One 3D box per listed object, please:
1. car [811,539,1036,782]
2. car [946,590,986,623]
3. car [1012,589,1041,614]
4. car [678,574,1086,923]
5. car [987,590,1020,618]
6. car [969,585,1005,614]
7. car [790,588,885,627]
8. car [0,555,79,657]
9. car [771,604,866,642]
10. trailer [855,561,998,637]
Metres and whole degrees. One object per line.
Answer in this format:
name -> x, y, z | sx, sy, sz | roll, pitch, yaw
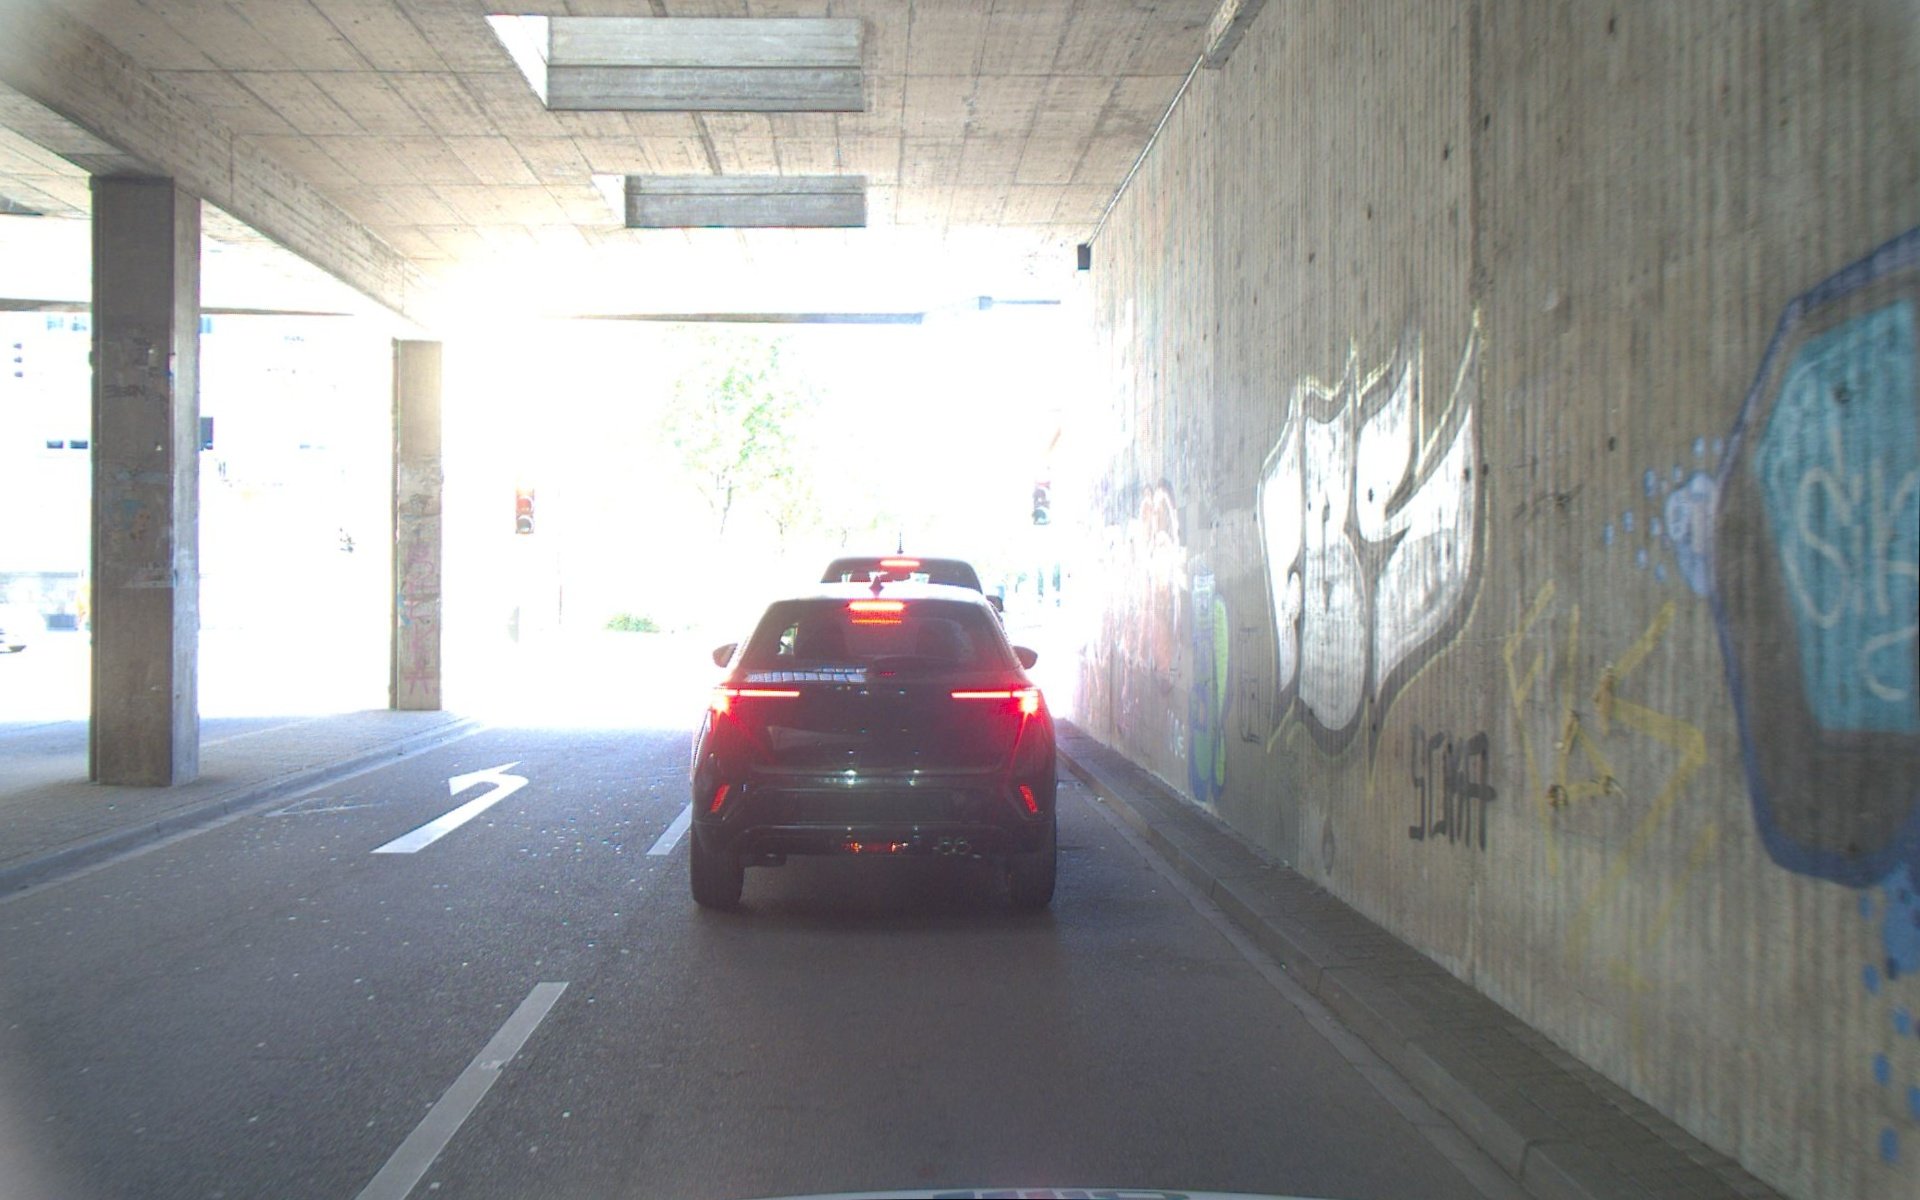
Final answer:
car -> -0.410, 0.461, 15.415 | 1.779, 1.915, 4.583 | 0, 0, -3
car -> 0.417, 0.408, 107.943 | 1.951, 2.049, 4.272 | 0, 0, 9
car -> 5.733, 0.113, 141.769 | 1.951, 2.049, 4.272 | 0, 0, 9
car -> -0.428, 0.635, 9.388 | 1.789, 1.527, 4.209 | 0, 0, -3
car -> 3.383, 0.296, 127.525 | 1.951, 2.049, 4.272 | 0, 0, 9
car -> 1.958, -0.044, 118.416 | 1.951, 2.049, 4.272 | 0, 0, 9
car -> -5.604, 0.330, 76.066 | 4.063, 1.769, 2.001 | 0, 0, 4
car -> -21.372, 0.092, 34.960 | 4.390, 2.048, 1.999 | 0, 2, -3
car -> -6.105, 0.993, 71.664 | 3.905, 1.601, 1.640 | 0, 0, 1
trailer -> -0.897, -0.044, 46.295 | 3.904, 2.049, 2.001 | 0, 0, 2
